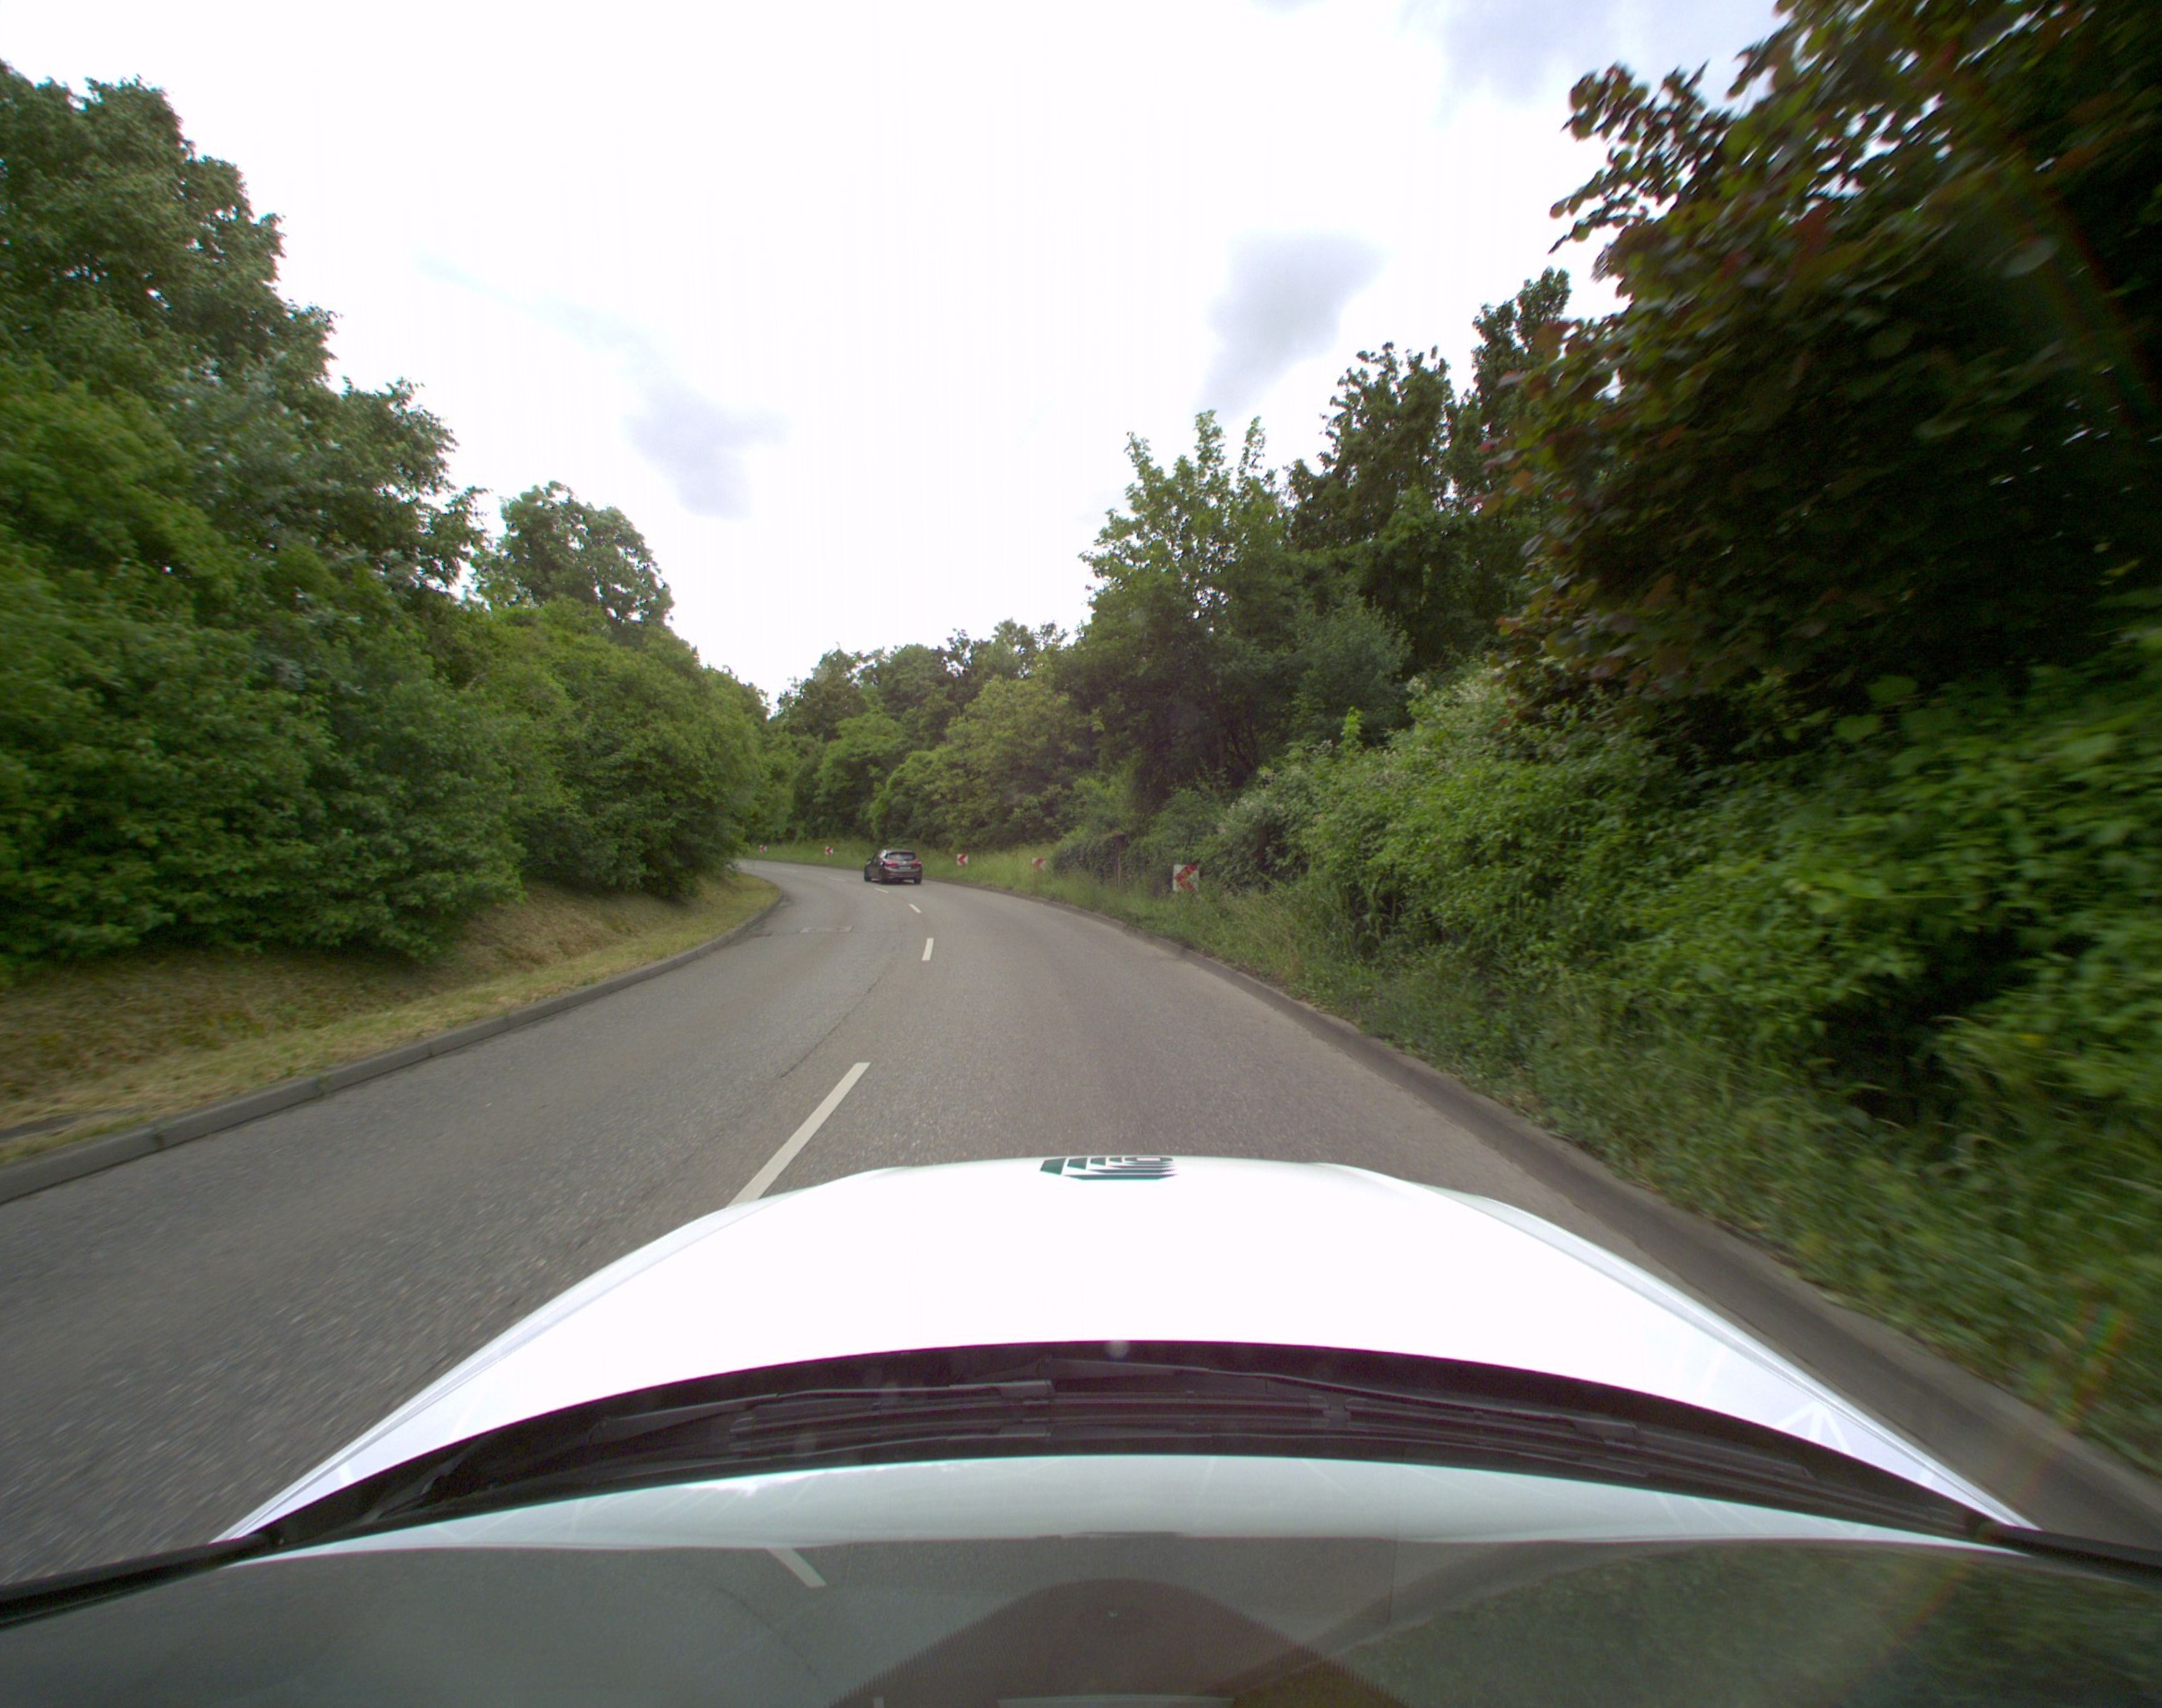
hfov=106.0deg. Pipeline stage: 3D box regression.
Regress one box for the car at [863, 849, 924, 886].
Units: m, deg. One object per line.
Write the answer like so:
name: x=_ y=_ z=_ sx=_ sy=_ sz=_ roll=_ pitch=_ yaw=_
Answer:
car: x=-8.390 y=0.552 z=36.207 sx=1.849 sy=1.483 sz=3.967 roll=-2 pitch=1 yaw=-25
